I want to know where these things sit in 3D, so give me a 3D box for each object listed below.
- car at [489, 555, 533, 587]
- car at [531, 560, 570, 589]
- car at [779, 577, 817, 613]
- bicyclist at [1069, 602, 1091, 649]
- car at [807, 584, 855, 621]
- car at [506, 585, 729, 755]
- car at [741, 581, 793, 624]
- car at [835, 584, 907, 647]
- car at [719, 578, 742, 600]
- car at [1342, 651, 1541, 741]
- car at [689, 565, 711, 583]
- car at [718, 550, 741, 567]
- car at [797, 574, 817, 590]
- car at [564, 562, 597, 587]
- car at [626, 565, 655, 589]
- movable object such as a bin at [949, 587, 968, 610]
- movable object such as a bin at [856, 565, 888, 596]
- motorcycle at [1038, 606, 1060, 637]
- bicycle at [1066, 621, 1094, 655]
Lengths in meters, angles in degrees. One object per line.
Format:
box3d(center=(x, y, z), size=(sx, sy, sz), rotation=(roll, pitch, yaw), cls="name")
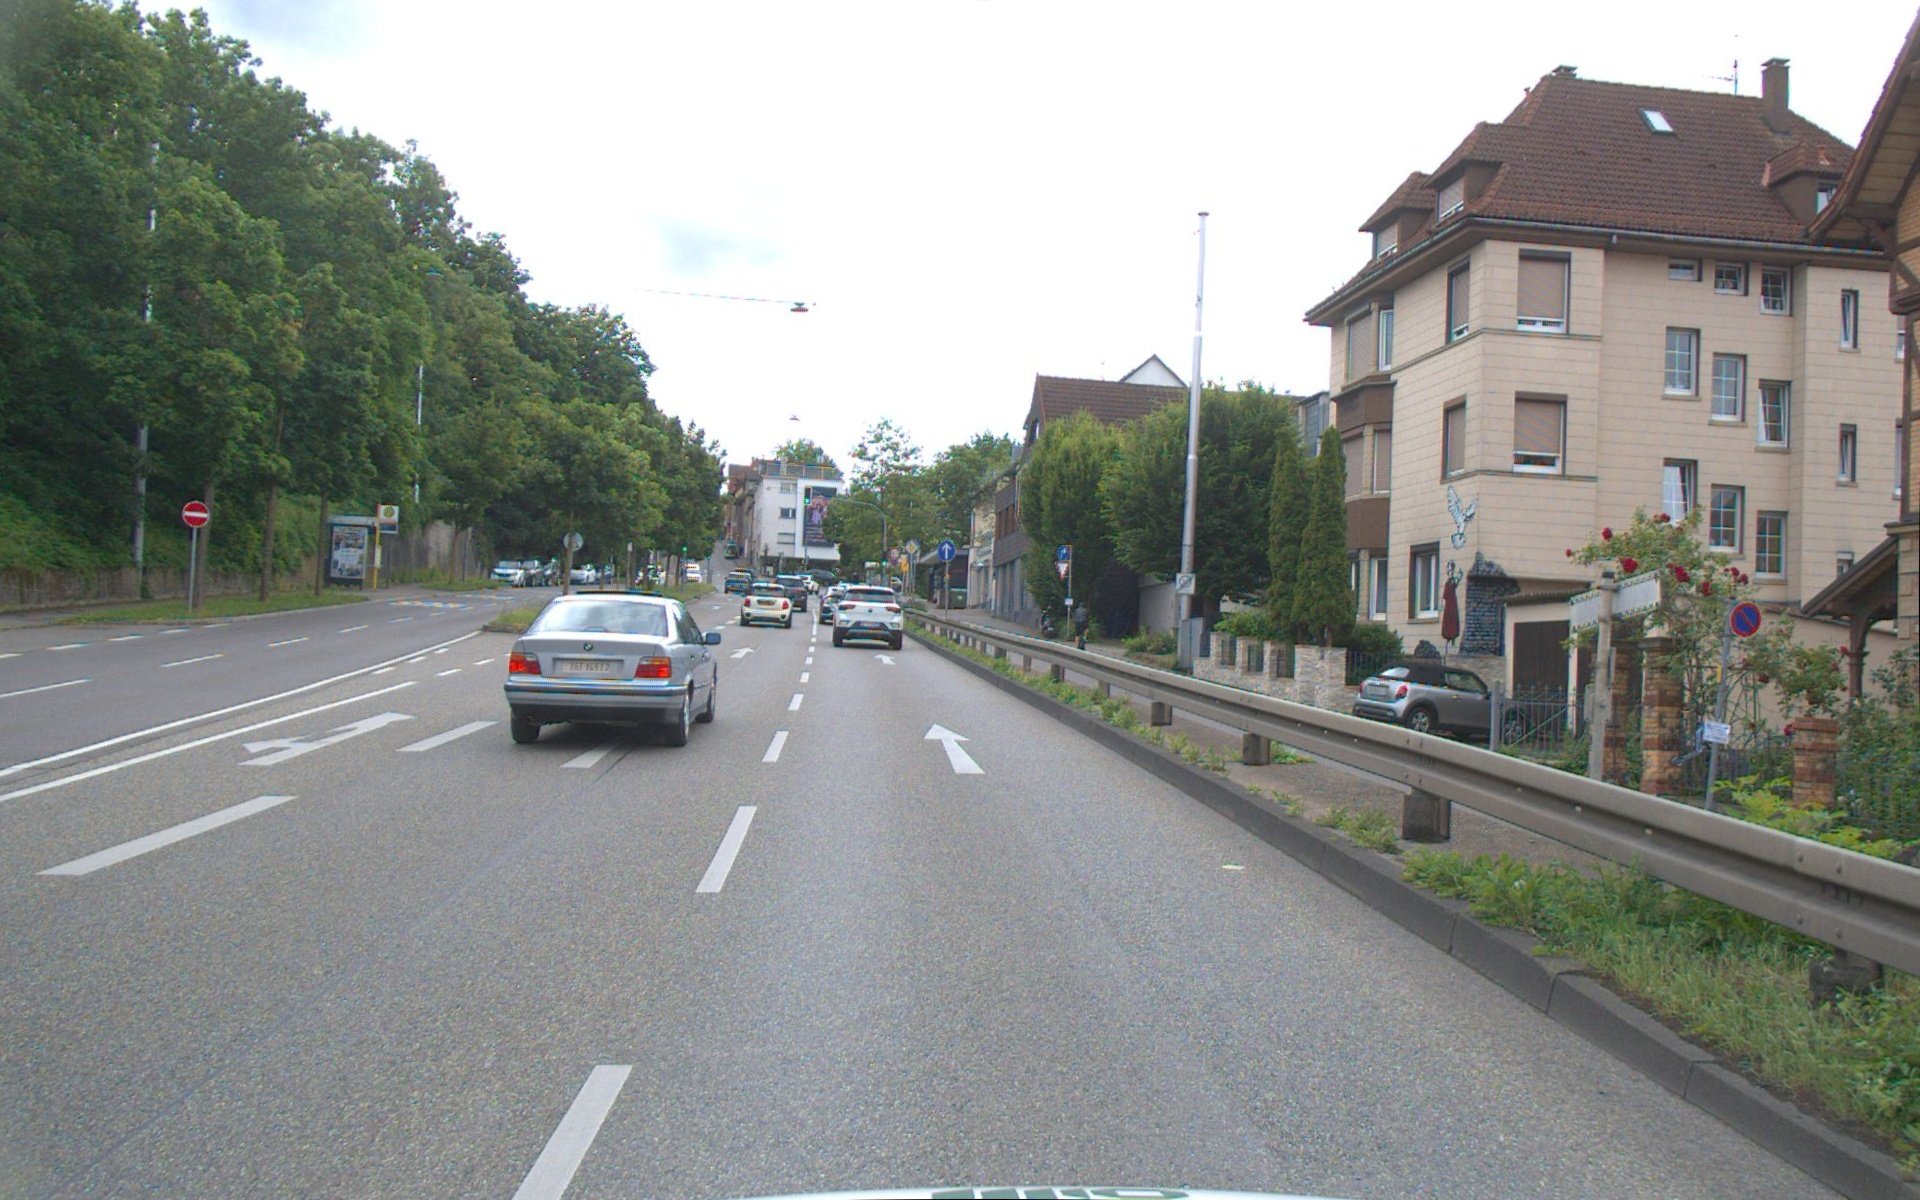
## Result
box3d(center=(-26.276, -1.722, 96.879), size=(1.825, 1.699, 4.273), rotation=(4, 1, -7), cls="car")
box3d(center=(-26.516, -1.685, 107.133), size=(1.825, 1.699, 4.273), rotation=(4, 1, -7), cls="car")
box3d(center=(-7.733, -0.250, 78.659), size=(1.690, 1.668, 3.450), rotation=(0, 0, -8), cls="car")
box3d(center=(4.060, 0.848, 55.864), size=(0.555, 1.551, 0.958), rotation=(0, 1, -7), cls="bicyclist")
box3d(center=(-4.936, 0.091, 63.097), size=(1.690, 1.400, 3.451), rotation=(0, 0, -7), cls="car")
box3d(center=(-3.296, 0.592, 16.694), size=(1.602, 1.407, 4.616), rotation=(1, 1, -5), cls="car")
box3d(center=(-6.484, 0.093, 55.763), size=(1.689, 1.400, 3.452), rotation=(0, 0, -6), cls="car")
box3d(center=(-2.333, 0.383, 42.802), size=(1.762, 1.545, 3.453), rotation=(0, 0, -5), cls="car")
box3d(center=(-17.150, -0.830, 123.552), size=(1.690, 1.610, 3.450), rotation=(0, 0, -8), cls="car")
box3d(center=(9.826, 1.955, 33.759), size=(3.552, 1.459, 1.694), rotation=(5, 1, -22), cls="car")
box3d(center=(-24.812, -2.470, 157.879), size=(1.825, 1.567, 4.273), rotation=(4, 1, -7), cls="car")
box3d(center=(-29.891, -5.363, 214.822), size=(2.462, 2.048, 5.177), rotation=(4, 1, -5), cls="car")
box3d(center=(-13.330, -1.547, 144.106), size=(1.689, 1.400, 3.452), rotation=(0, 0, -6), cls="car")
box3d(center=(-27.339, -1.880, 119.188), size=(1.825, 1.621, 4.273), rotation=(4, 1, -7), cls="car")
box3d(center=(-25.158, -1.848, 130.305), size=(1.825, 1.699, 4.274), rotation=(4, 1, -6), cls="car")
box3d(center=(-0.105, -0.127, 110.721), size=(1.173, 1.432, 0.710), rotation=(4, 1, -6), cls="movable object such as a bin")
box3d(center=(-6.007, -1.333, 113.095), size=(1.860, 1.902, 1.523), rotation=(4, 1, -14), cls="movable object such as a bin")
box3d(center=(3.648, 0.871, 68.032), size=(0.596, 1.182, 2.039), rotation=(1, 1, -5), cls="motorcycle")
box3d(center=(4.054, 1.279, 55.991), size=(0.555, 1.081, 2.002), rotation=(0, 1, -7), cls="bicycle")
